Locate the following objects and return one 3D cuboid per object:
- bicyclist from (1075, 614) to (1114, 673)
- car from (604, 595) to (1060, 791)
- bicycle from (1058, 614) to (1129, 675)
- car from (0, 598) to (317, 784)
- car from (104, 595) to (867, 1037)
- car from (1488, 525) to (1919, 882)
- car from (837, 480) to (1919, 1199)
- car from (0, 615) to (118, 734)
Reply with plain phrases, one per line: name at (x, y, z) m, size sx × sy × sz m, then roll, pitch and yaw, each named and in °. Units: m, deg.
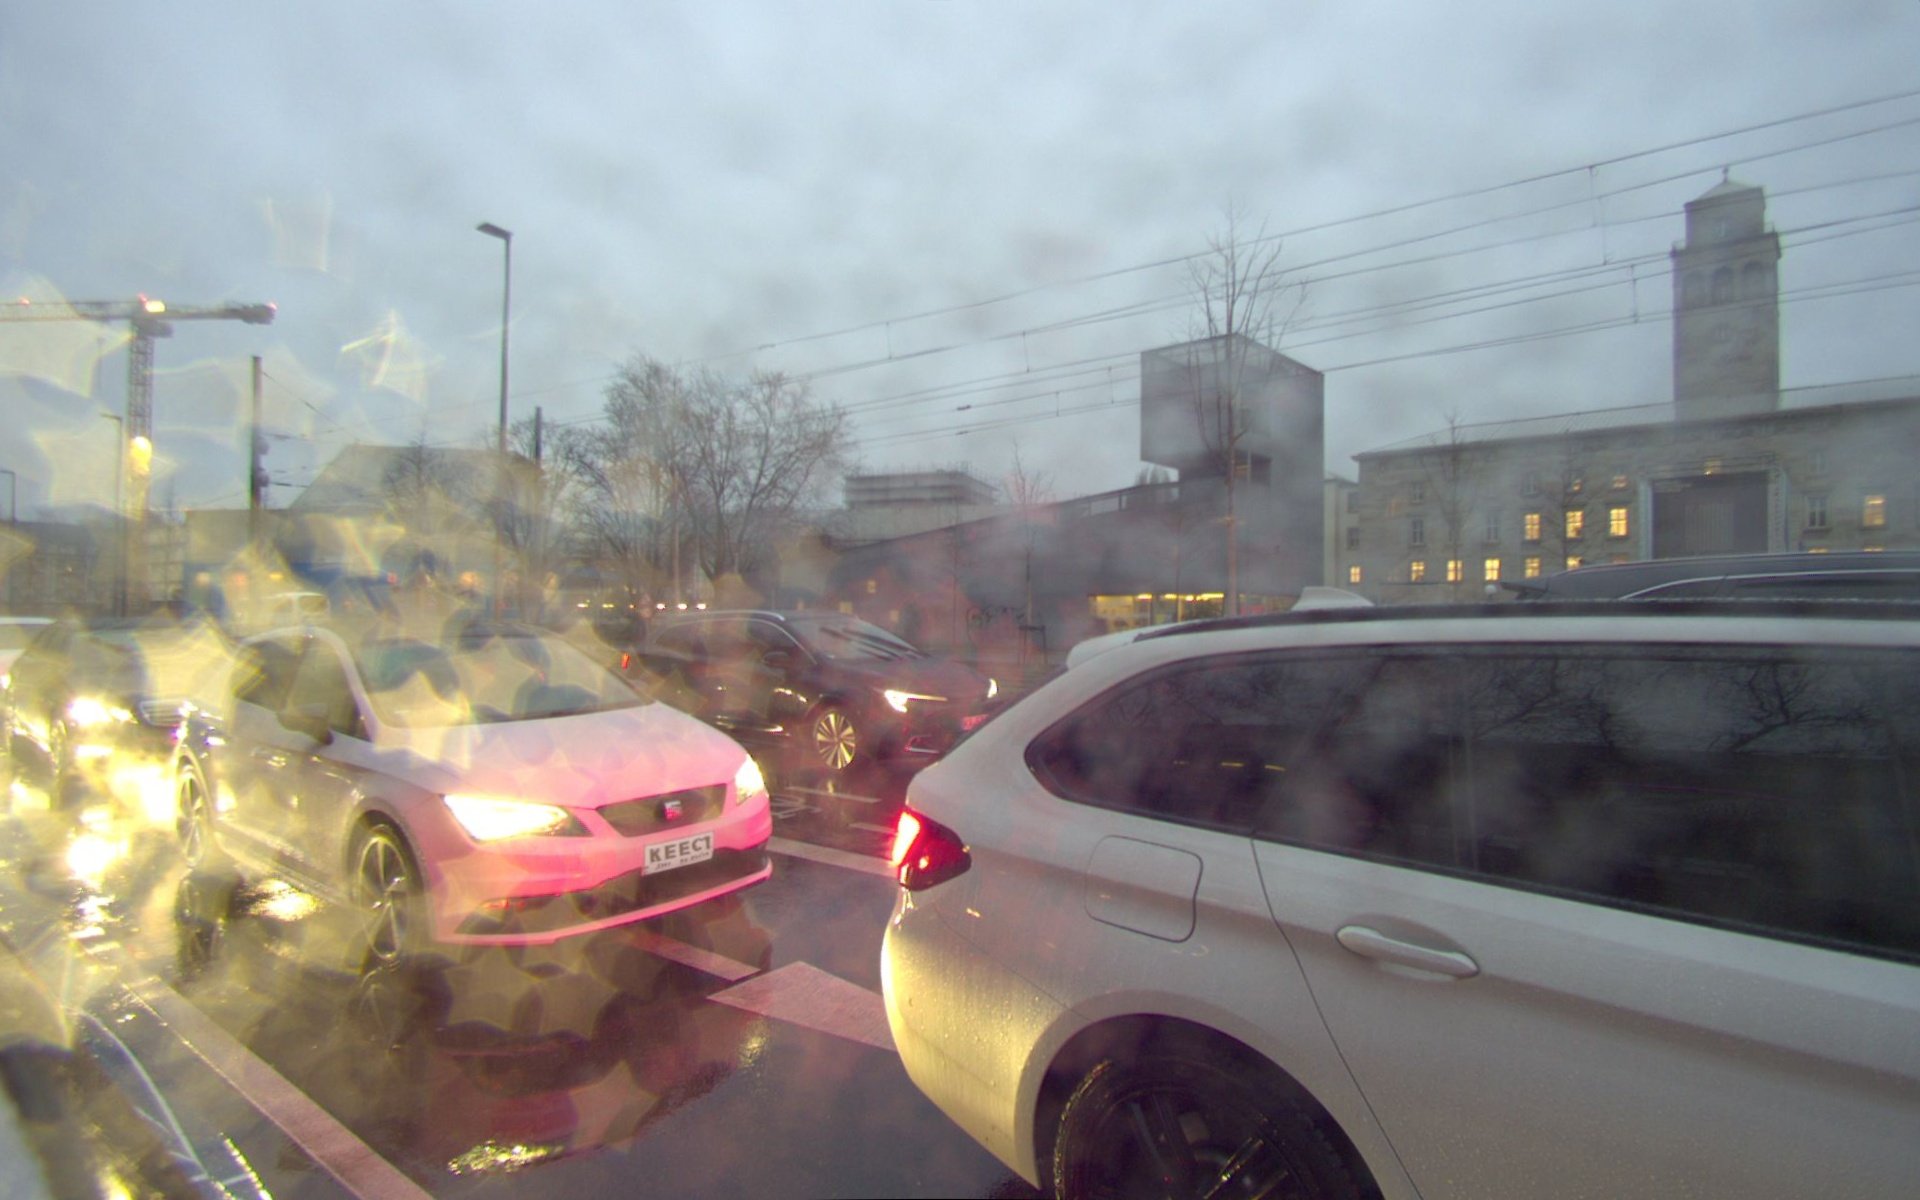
bicyclist at (4.154, 1.337, 31.264) m, size 0.960 × 1.746 × 0.754 m, roll 1°, pitch 1°, yaw 38°
car at (-1.443, 0.748, 10.083) m, size 4.659 × 1.519 × 1.830 m, roll 0°, pitch -1°, yaw 39°
bicycle at (4.119, 1.348, 31.302) m, size 2.061 × 1.746 × 0.754 m, roll 1°, pitch 1°, yaw 39°
car at (-8.537, 0.782, 10.368) m, size 4.501 × 1.498 × 1.974 m, roll -1°, pitch -2°, yaw 39°
car at (-2.838, 0.767, 5.588) m, size 4.497 × 1.498 × 1.926 m, roll -1°, pitch 0°, yaw 37°
car at (5.222, 0.471, 5.007) m, size 4.289 × 1.596 × 1.946 m, roll -1°, pitch -1°, yaw 42°
car at (2.082, 0.623, 1.658) m, size 4.557 × 1.498 × 1.996 m, roll -1°, pitch -2°, yaw 41°
car at (-14.241, 1.034, 15.183) m, size 3.998 × 1.586 × 1.882 m, roll -1°, pitch 0°, yaw 41°
